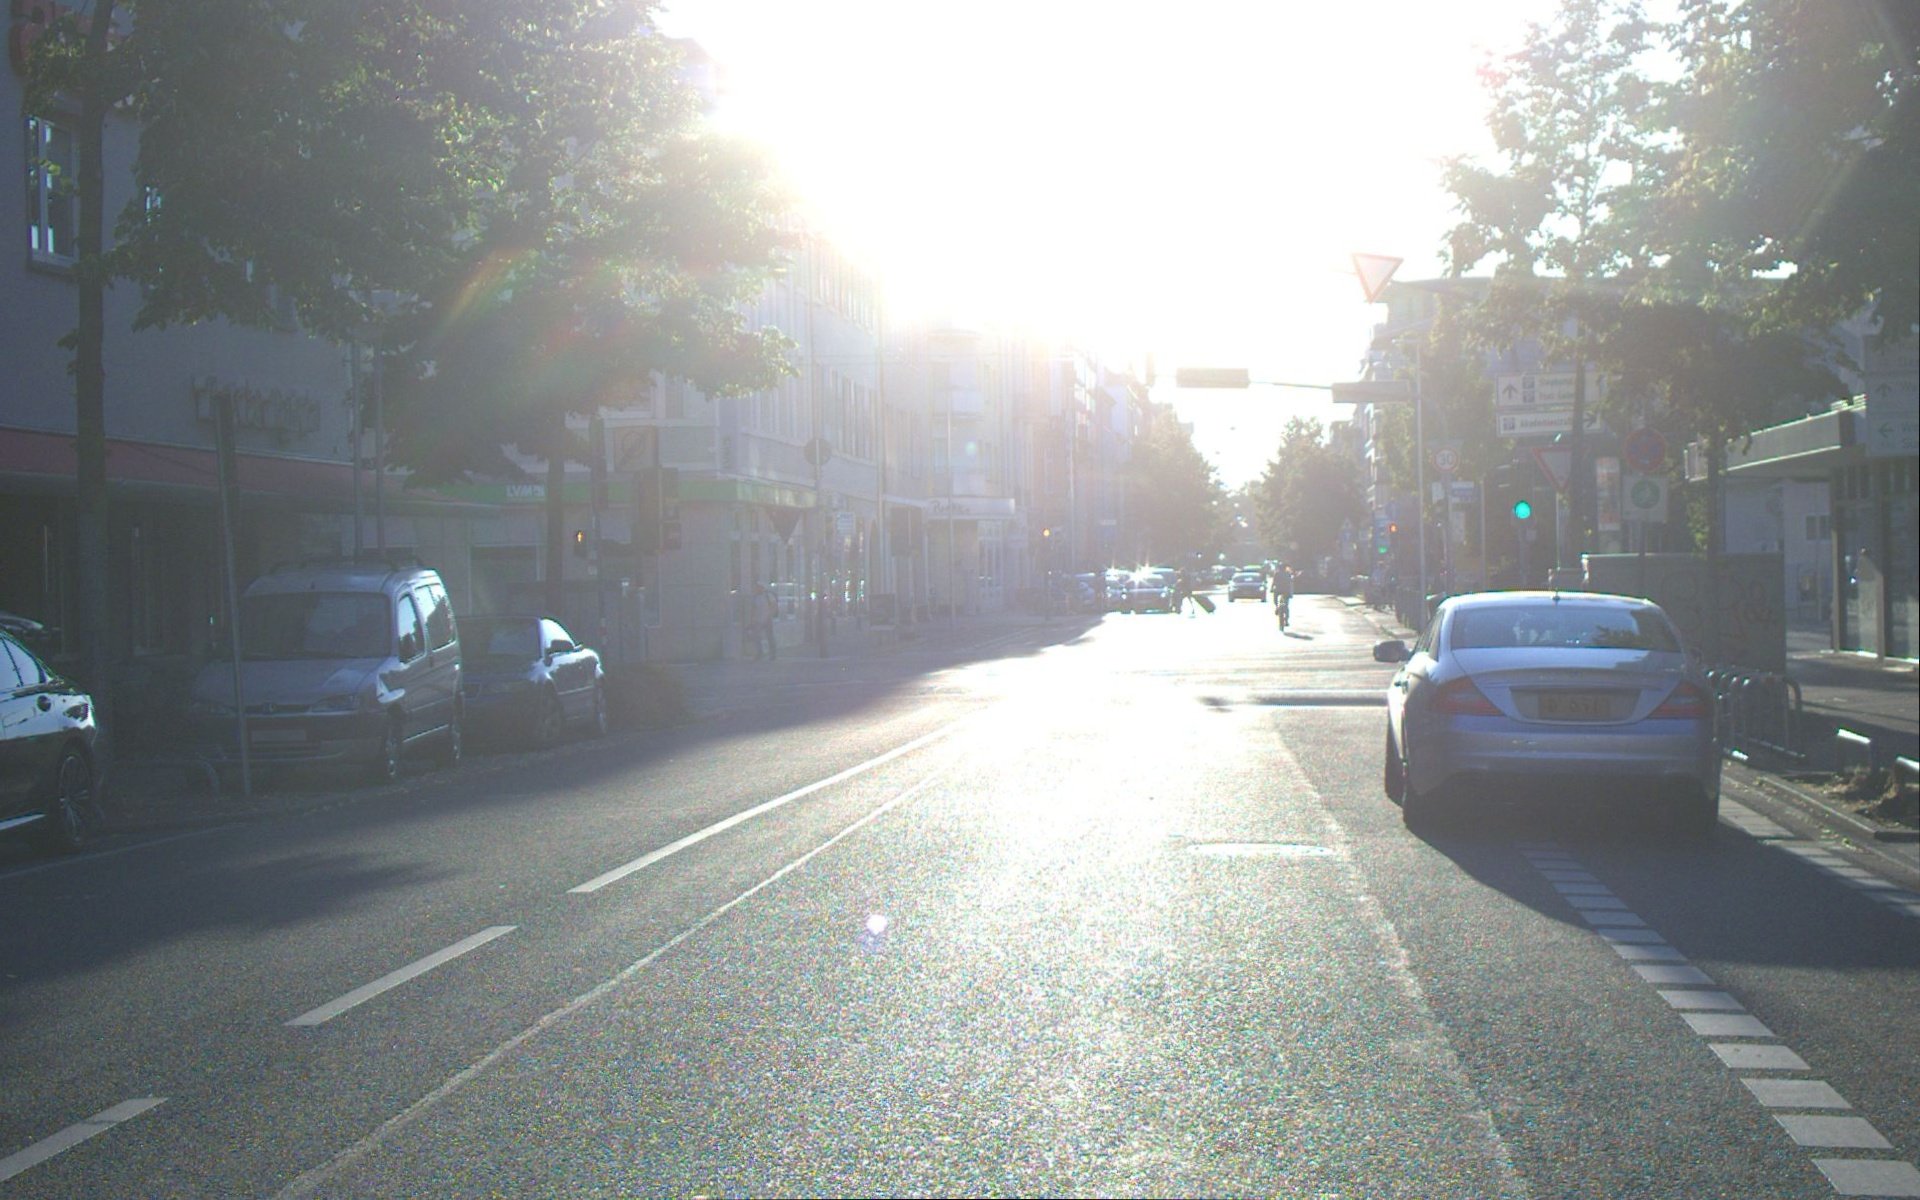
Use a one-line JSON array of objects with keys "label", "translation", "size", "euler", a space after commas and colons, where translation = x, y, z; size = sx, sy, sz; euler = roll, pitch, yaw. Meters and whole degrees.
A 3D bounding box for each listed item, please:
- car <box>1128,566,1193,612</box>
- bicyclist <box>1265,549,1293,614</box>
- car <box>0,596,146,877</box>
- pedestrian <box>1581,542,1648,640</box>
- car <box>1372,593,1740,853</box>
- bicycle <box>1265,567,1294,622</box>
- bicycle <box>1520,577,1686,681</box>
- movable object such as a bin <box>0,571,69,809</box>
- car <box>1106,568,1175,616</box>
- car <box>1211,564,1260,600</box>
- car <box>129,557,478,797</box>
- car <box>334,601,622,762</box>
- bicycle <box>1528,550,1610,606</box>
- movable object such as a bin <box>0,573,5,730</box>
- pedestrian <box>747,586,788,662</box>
[{"label": "car", "translation": [7.902, -0.449, 135.290], "size": [2.304, 1.672, 5.531], "euler": [-1, 0, 5]}, {"label": "bicyclist", "translation": [8.463, -0.487, 91.219], "size": [0.679, 1.701, 0.669], "euler": [-1, 0, 7]}, {"label": "car", "translation": [-6.218, 0.794, 19.107], "size": [1.915, 1.506, 4.638], "euler": [-2, 1, 5]}, {"label": "pedestrian", "translation": [11.921, -0.165, 62.595], "size": [0.805, 1.720, 0.992], "euler": [-3, -1, 33]}, {"label": "car", "translation": [3.588, 0.678, 21.413], "size": [1.801, 1.373, 4.551], "euler": [1, 1, 4]}, {"label": "bicycle", "translation": [8.486, -0.154, 91.253], "size": [0.679, 1.397, 2.229], "euler": [-1, 0, 7]}, {"label": "bicycle", "translation": [7.750, 0.347, 41.464], "size": [1.913, 1.199, 0.470], "euler": [-1, 0, 7]}, {"label": "movable object such as a bin", "translation": [-7.383, 0.616, 25.097], "size": [1.281, 1.667, 1.440], "euler": [2, 1, 3]}, {"label": "car", "translation": [6.739, -0.318, 127.779], "size": [2.304, 1.672, 5.531], "euler": [-1, 0, 5]}, {"label": "car", "translation": [13.579, -0.883, 169.275], "size": [2.304, 1.672, 5.531], "euler": [-1, 0, 5]}, {"label": "car", "translation": [-5.336, 0.571, 28.488], "size": [1.915, 1.781, 4.148], "euler": [-2, 1, 2]}, {"label": "car", "translation": [-4.744, 0.767, 34.460], "size": [1.915, 1.381, 4.381], "euler": [-2, 1, 5]}, {"label": "bicycle", "translation": [17.075, -0.617, 96.394], "size": [2.223, 1.517, 0.680], "euler": [-1, 0, 10]}, {"label": "movable object such as a bin", "translation": [-7.453, 0.627, 23.665], "size": [1.280, 1.667, 1.369], "euler": [2, 1, 3]}, {"label": "pedestrian", "translation": [-4.000, 0.494, 71.455], "size": [0.697, 1.543, 0.870], "euler": [-2, 0, -11]}]
